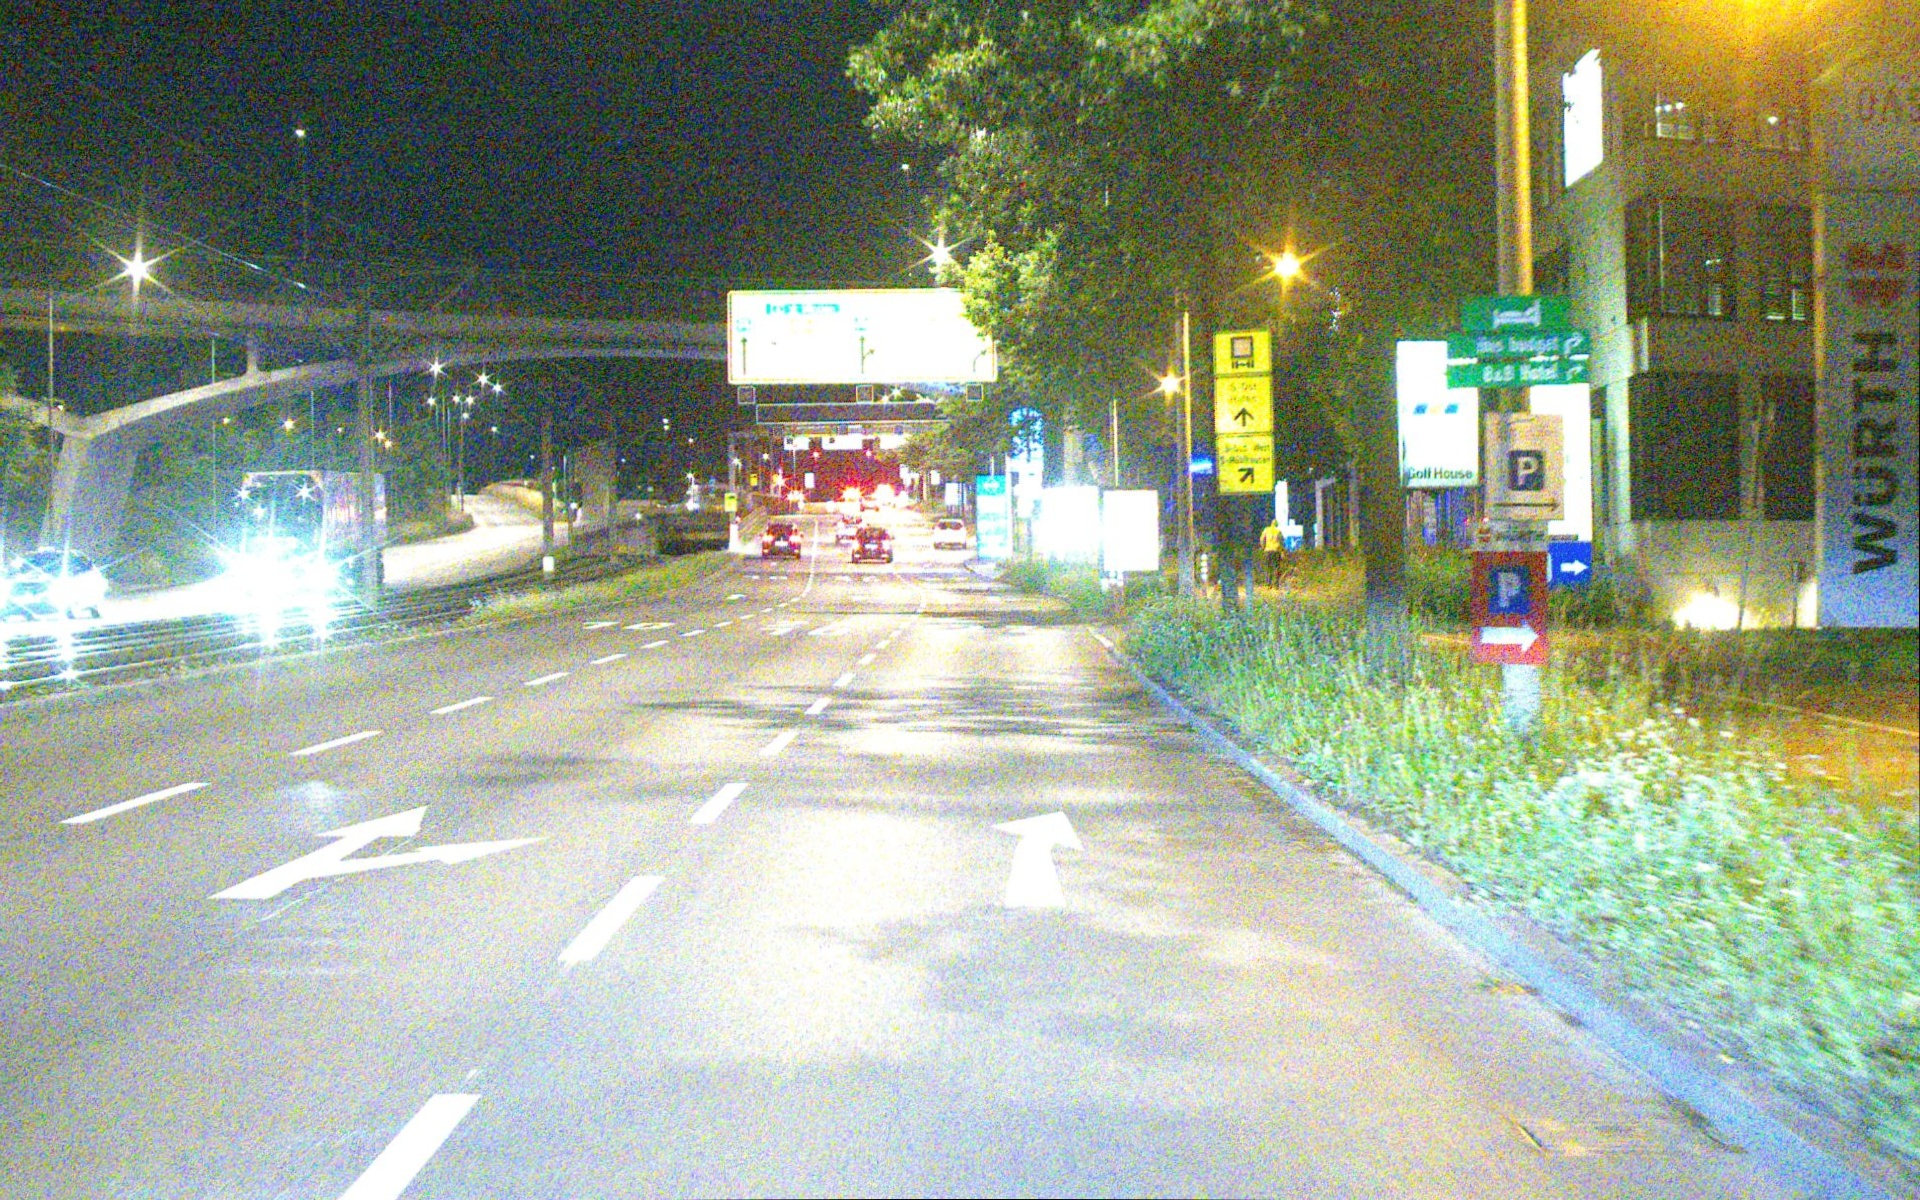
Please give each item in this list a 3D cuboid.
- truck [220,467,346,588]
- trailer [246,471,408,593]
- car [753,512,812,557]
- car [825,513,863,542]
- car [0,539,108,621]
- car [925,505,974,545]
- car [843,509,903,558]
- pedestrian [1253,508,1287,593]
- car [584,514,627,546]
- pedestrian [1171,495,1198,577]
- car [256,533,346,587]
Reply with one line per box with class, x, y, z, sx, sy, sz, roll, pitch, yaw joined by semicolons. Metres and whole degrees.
truck;-21.693;-2.352;110.390;3.041;3.806;4.935;0;2;0
trailer;-21.715;-2.433;118.836;2.994;3.986;13.956;0;2;0
car;-8.158;-3.030;158.599;2.263;2.006;4.826;0;2;3
car;-6.434;-4.031;191.415;1.993;1.548;4.000;0;1;0
car;-20.600;-0.466;77.554;1.863;1.744;3.702;0;2;-1
car;-0.568;-4.051;185.714;2.427;2.106;4.826;0;2;3
car;-3.863;-2.974;153.257;2.356;2.121;4.826;0;2;3
pedestrian;7.629;-1.221;84.564;0.762;2.056;0.643;0;2;0
car;-19.424;-3.858;188.423;1.993;1.698;4.000;0;2;0
pedestrian;6.727;-1.917;102.963;0.745;2.426;0.779;1;1;2
car;-18.905;-1.168;98.807;1.911;1.468;3.772;0;2;-1
